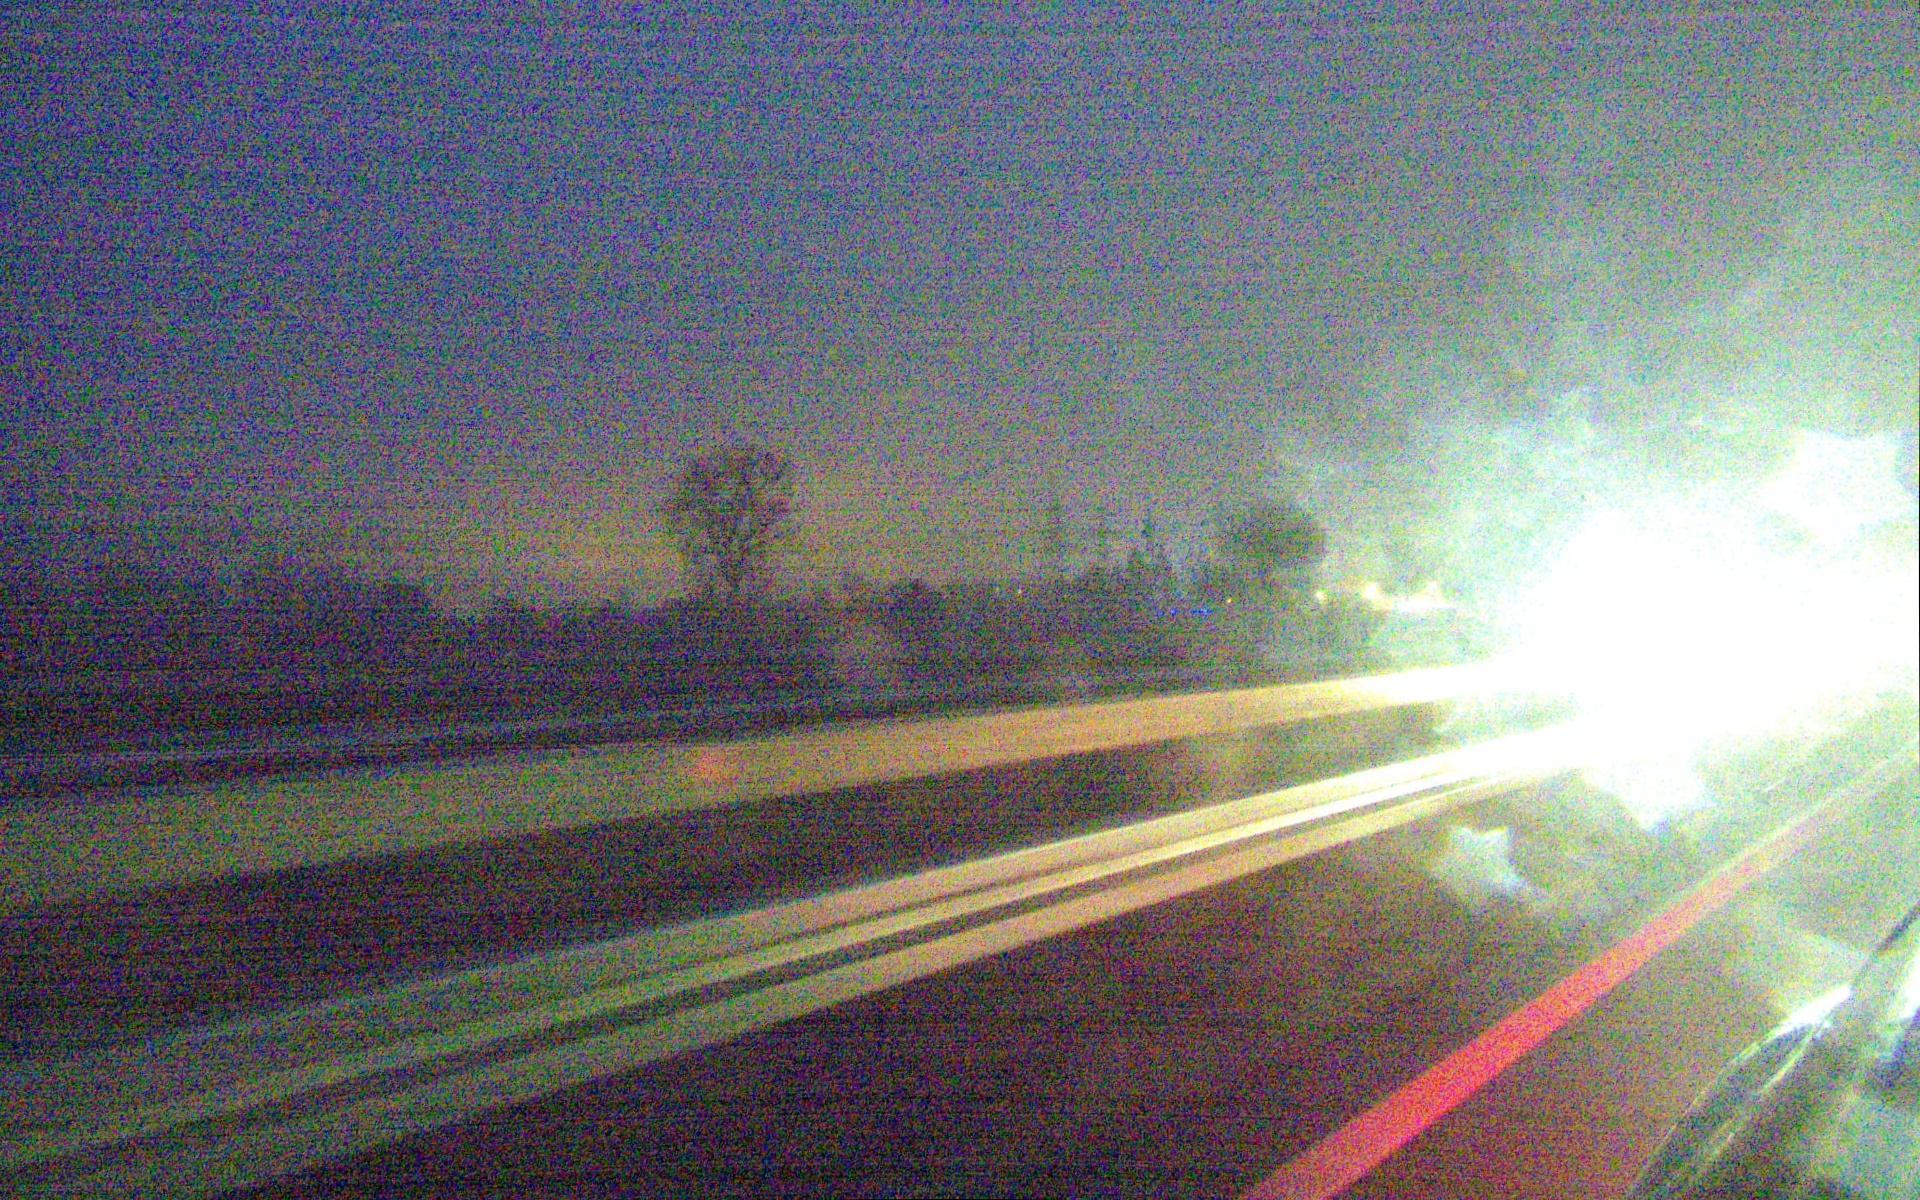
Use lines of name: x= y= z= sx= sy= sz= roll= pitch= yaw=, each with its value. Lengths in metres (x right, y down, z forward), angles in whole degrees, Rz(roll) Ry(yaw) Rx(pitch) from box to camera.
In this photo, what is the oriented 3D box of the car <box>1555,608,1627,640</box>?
car: x=37.018 y=1.417 z=59.495 sx=1.967 sy=1.770 sz=4.089 roll=-3 pitch=-2 yaw=8
